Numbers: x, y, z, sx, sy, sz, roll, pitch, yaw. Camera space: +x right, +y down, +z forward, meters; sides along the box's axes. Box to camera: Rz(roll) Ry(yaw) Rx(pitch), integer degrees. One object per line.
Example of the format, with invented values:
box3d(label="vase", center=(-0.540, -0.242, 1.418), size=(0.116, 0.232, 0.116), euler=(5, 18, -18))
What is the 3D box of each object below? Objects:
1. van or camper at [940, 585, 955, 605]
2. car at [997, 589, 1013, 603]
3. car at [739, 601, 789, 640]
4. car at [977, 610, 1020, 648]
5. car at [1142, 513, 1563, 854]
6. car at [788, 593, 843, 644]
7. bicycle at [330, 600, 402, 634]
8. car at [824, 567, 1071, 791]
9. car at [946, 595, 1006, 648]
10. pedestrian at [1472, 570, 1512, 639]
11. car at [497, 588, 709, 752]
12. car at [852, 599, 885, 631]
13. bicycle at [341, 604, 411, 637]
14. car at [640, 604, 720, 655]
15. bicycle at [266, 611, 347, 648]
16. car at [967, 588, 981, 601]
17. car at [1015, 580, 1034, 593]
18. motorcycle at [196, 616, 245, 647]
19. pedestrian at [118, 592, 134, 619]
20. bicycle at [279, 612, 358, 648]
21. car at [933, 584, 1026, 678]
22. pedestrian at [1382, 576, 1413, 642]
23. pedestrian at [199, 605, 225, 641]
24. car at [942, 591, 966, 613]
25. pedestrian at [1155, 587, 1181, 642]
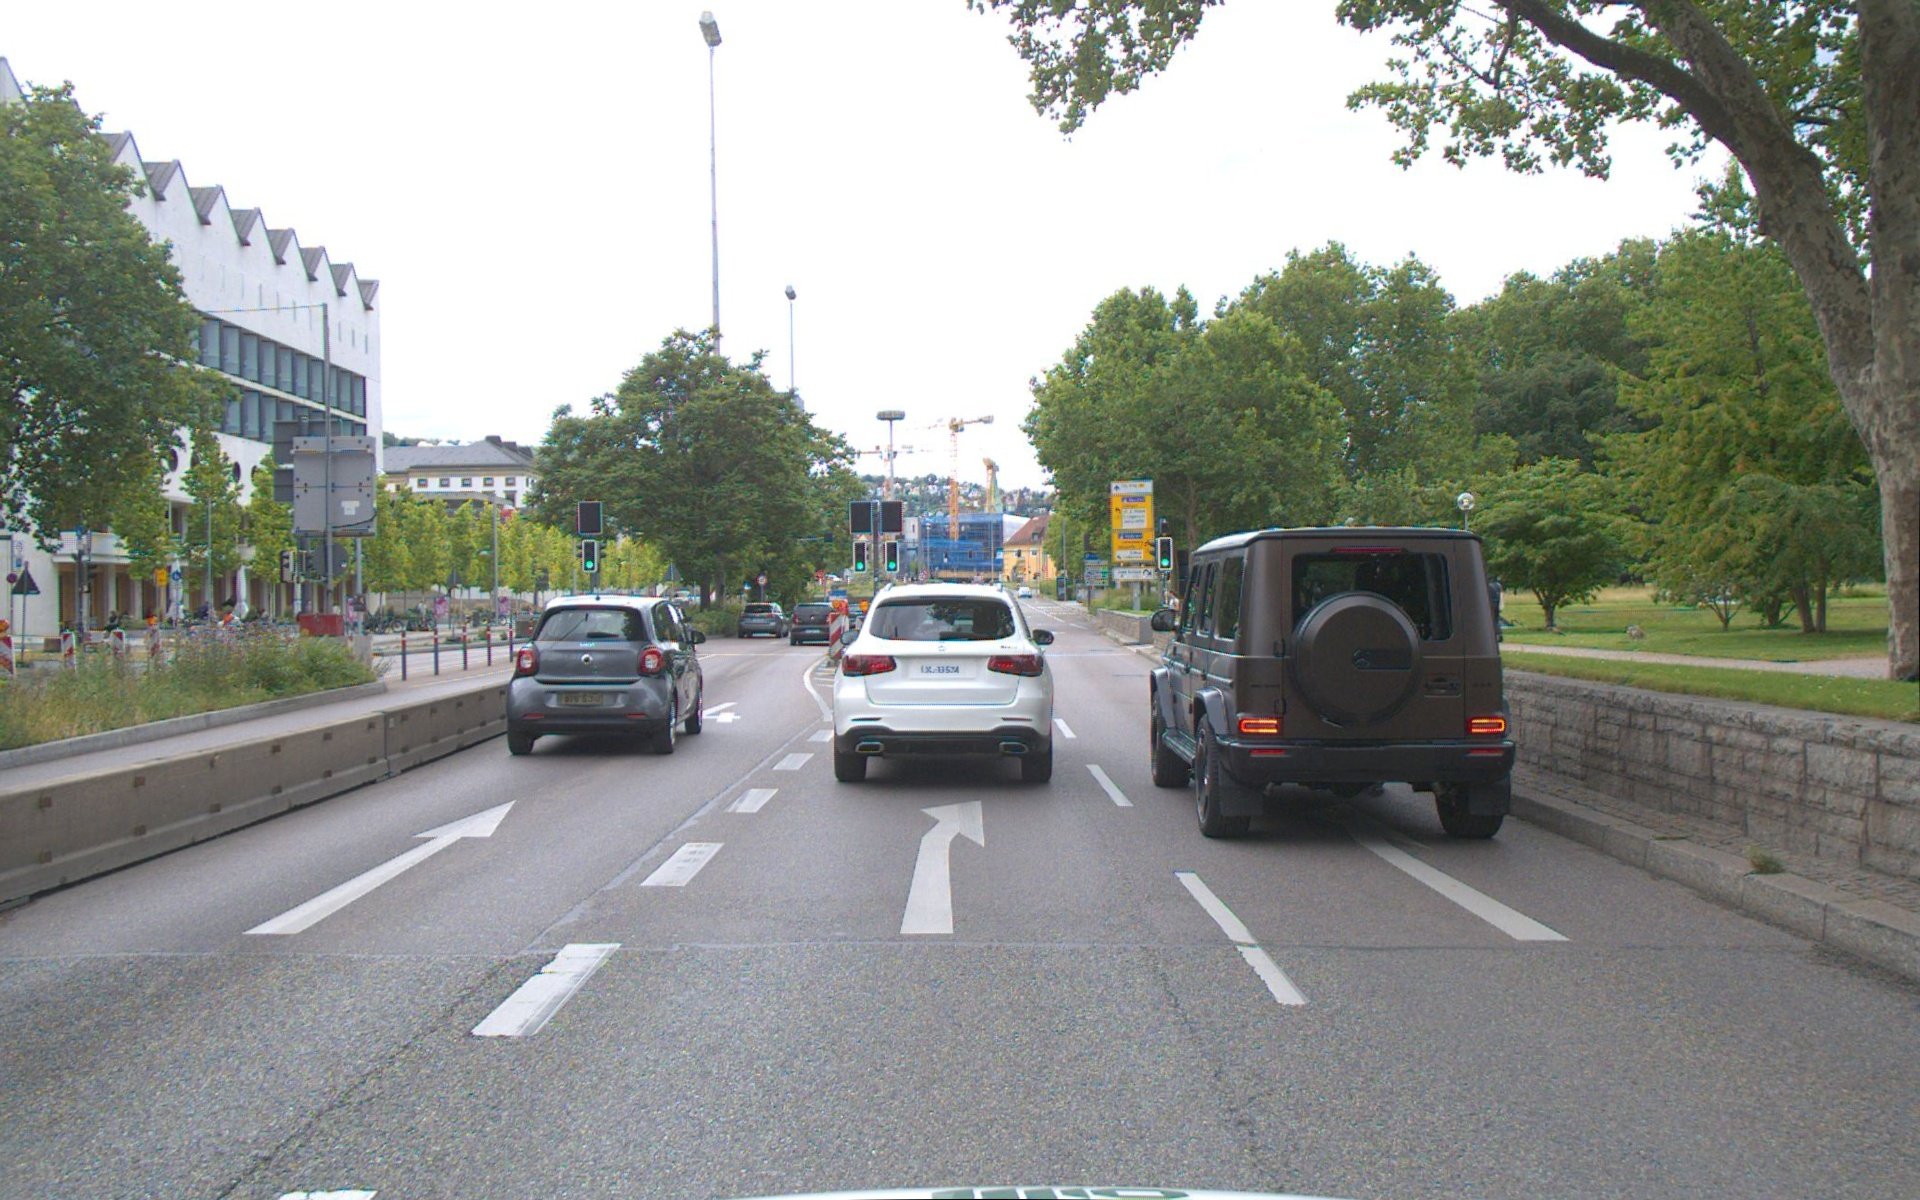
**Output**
box3d(label="van or camper", center=(-1.674, -0.645, 212.530), size=(1.883, 2.360, 3.998), euler=(0, -2, -1))
box3d(label="car", center=(5.331, -0.495, 196.963), size=(1.684, 1.612, 3.998), euler=(1, 0, -2))
box3d(label="car", center=(-8.257, 0.839, 69.884), size=(1.718, 1.580, 3.998), euler=(1, 0, -2))
box3d(label="car", center=(1.737, 1.292, 75.702), size=(1.684, 1.612, 3.998), euler=(1, 0, -2))
box3d(label="car", center=(2.529, 0.513, 11.914), size=(1.937, 1.926, 4.707), euler=(1, -1, 1))
box3d(label="car", center=(-5.055, 0.631, 58.119), size=(1.684, 1.708, 3.998), euler=(1, 0, -2))
box3d(label="bicycle", center=(-32.654, 0.926, 90.969), size=(3.549, 1.713, 1.179), euler=(-2, 0, -12))
box3d(label="car", center=(-0.137, 0.647, 14.971), size=(1.901, 1.713, 3.999), euler=(1, -1, -1))
box3d(label="car", center=(0.475, 0.663, 53.234), size=(1.684, 1.612, 3.998), euler=(1, 0, -2))
box3d(label="pedestrian", center=(12.863, 0.109, 39.983), size=(0.785, 1.654, 0.626), euler=(-1, 0, 7))
box3d(label="car", center=(-3.634, 0.687, 17.379), size=(1.595, 1.535, 3.538), euler=(0, -1, -3))
box3d(label="car", center=(-4.925, 0.778, 88.890), size=(1.685, 1.612, 3.997), euler=(1, 0, -4))
box3d(label="bicycle", center=(-32.836, 1.138, 93.025), size=(3.549, 1.713, 1.179), euler=(-2, 0, -12))
box3d(label="car", center=(-7.758, 0.793, 46.143), size=(1.684, 1.315, 3.998), euler=(1, 0, -2))
box3d(label="bicycle", center=(-32.704, 1.470, 82.811), size=(3.540, 1.713, 1.182), euler=(-2, 0, -2))
box3d(label="car", center=(1.937, -0.721, 224.431), size=(1.684, 1.612, 3.998), euler=(1, 0, -2))
box3d(label="car", center=(8.621, -1.745, 220.502), size=(1.955, 1.646, 3.995), euler=(1, -1, -5))
box3d(label="motorcycle", center=(-31.400, 1.346, 70.217), size=(1.860, 1.255, 0.653), euler=(-1, -2, -26))
box3d(label="pedestrian", center=(-41.821, 0.275, 82.935), size=(0.508, 1.350, 0.565), euler=(-2, -2, 0))
box3d(label="bicycle", center=(-33.045, 1.522, 85.233), size=(3.540, 1.713, 1.182), euler=(-2, 0, -2))
box3d(label="car", center=(0.348, 0.601, 31.658), size=(1.638, 1.656, 3.999), euler=(1, -1, 0))
box3d(label="pedestrian", center=(10.724, 0.206, 40.540), size=(0.668, 1.589, 0.909), euler=(-1, 0, 17))
box3d(label="pedestrian", center=(-32.907, 1.013, 72.753), size=(0.876, 1.584, 0.589), euler=(-1, 0, -43))
box3d(label="car", center=(-0.520, 0.168, 140.976), size=(1.952, 1.787, 4.000), euler=(1, -1, 1))
box3d(label="pedestrian", center=(6.464, 0.442, 51.320), size=(0.683, 1.685, 0.683), euler=(1, -1, -1))
